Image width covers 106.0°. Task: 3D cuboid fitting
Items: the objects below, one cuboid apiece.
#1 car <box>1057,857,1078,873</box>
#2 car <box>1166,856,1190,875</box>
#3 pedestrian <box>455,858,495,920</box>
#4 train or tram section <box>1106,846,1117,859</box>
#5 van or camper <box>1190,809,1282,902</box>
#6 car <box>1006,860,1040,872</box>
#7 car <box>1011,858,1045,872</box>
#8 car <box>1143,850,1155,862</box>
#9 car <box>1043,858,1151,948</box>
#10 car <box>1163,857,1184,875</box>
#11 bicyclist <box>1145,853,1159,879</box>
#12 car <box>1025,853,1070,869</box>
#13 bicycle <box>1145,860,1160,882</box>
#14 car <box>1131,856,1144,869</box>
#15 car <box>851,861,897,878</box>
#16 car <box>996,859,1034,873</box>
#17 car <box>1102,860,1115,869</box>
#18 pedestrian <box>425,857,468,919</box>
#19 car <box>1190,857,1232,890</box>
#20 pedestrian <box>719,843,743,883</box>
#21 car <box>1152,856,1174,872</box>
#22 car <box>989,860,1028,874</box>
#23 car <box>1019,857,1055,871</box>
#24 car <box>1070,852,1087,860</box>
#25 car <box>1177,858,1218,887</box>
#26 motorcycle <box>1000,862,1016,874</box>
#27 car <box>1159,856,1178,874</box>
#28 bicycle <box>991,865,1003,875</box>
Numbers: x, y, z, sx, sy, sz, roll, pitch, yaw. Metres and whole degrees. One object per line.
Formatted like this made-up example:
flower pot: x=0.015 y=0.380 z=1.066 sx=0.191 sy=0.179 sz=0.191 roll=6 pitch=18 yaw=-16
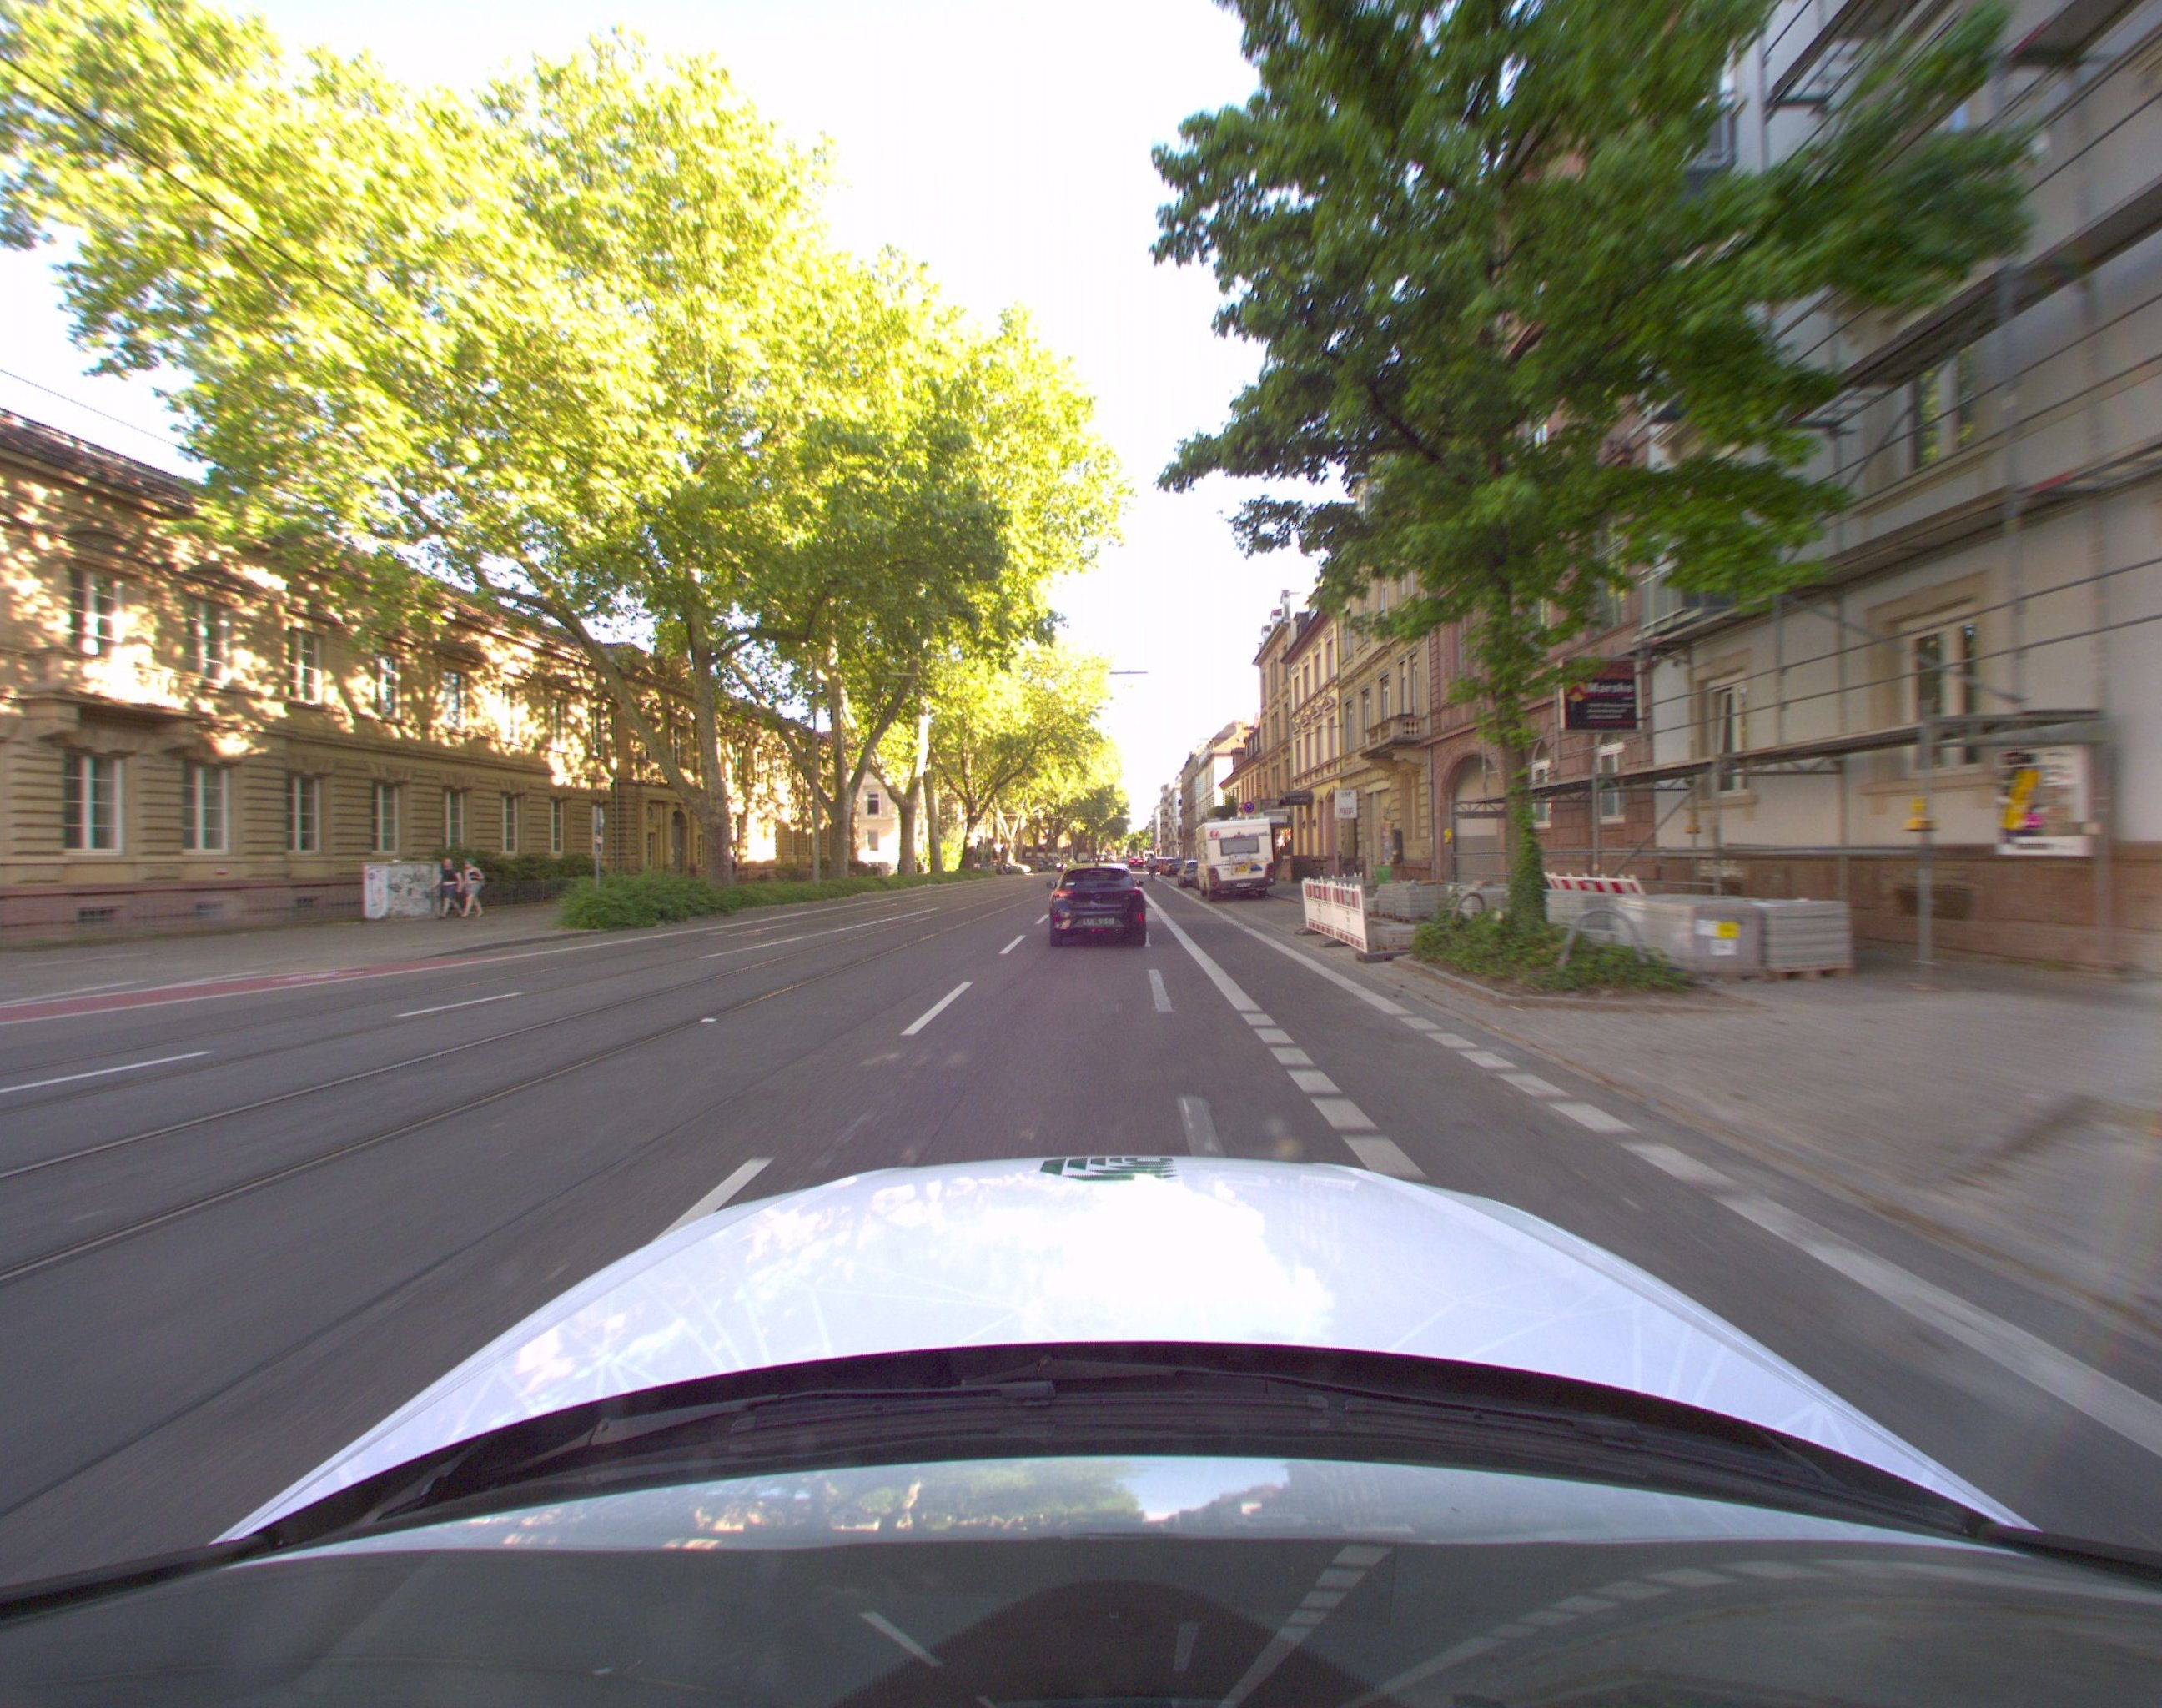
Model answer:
car: x=-1.426 y=1.163 z=87.557 sx=1.859 sy=1.629 sz=4.564 roll=-1 pitch=0 yaw=3
car: x=7.634 y=0.891 z=64.208 sx=1.686 sy=1.392 sz=4.500 roll=-2 pitch=-1 yaw=5
pedestrian: x=-16.911 y=0.963 z=22.730 sx=0.632 sy=1.697 sz=0.655 roll=0 pitch=-1 yaw=-4
train or tram section: x=9.367 y=-0.475 z=251.820 sx=2.722 sy=3.682 sz=12.731 roll=-2 pitch=0 yaw=5
van or camper: x=5.769 y=0.082 z=31.517 sx=2.466 sy=2.972 sz=7.894 roll=-4 pitch=-1 yaw=5
car: x=-6.987 y=1.445 z=97.947 sx=3.903 sy=1.442 sz=1.750 roll=1 pitch=-1 yaw=3
car: x=-6.521 y=1.393 z=100.128 sx=3.978 sy=1.627 sz=1.881 roll=1 pitch=-1 yaw=3
car: x=12.817 y=0.372 z=154.096 sx=2.066 sy=2.219 sz=4.939 roll=-4 pitch=-1 yaw=5
car: x=0.371 y=0.827 z=15.342 sx=1.786 sy=1.441 sz=3.534 roll=0 pitch=0 yaw=3
car: x=8.112 y=1.026 z=71.488 sx=1.644 sy=1.456 sz=3.872 roll=-2 pitch=-1 yaw=3
bicyclist: x=4.786 y=0.812 z=54.867 sx=0.844 sy=1.740 sz=1.162 roll=0 pitch=-1 yaw=2
car: x=-5.199 y=1.085 z=127.099 sx=6.599 sy=2.409 sz=2.460 roll=1 pitch=-1 yaw=3
bicycle: x=4.792 y=1.128 z=54.813 sx=0.857 sy=1.407 sz=2.525 roll=0 pitch=0 yaw=2
car: x=8.135 y=1.178 z=116.270 sx=1.801 sy=1.742 sz=3.938 roll=-1 pitch=0 yaw=5
car: x=-19.370 y=1.439 z=76.387 sx=3.760 sy=1.418 sz=1.696 roll=-2 pitch=2 yaw=3
car: x=-7.273 y=1.334 z=89.392 sx=3.903 sy=1.462 sz=1.807 roll=-1 pitch=-1 yaw=3
car: x=4.082 y=1.515 z=119.261 sx=1.802 sy=1.338 sz=3.935 roll=-1 pitch=0 yaw=2
pedestrian: x=-17.581 y=0.924 z=22.587 sx=0.670 sy=1.697 sz=0.661 roll=0 pitch=-1 yaw=-4
car: x=6.368 y=0.908 z=40.143 sx=1.637 sy=1.434 sz=4.034 roll=-4 pitch=-1 yaw=5
pedestrian: x=-16.424 y=0.419 z=38.212 sx=0.716 sy=1.849 sz=0.838 roll=0 pitch=-1 yaw=1
car: x=8.820 y=1.083 z=87.437 sx=1.874 sy=1.586 sz=3.932 roll=-4 pitch=-1 yaw=0
car: x=-7.671 y=1.391 z=86.508 sx=3.905 sy=1.453 sz=1.801 roll=-1 pitch=-1 yaw=3
car: x=-5.994 y=1.347 z=111.978 sx=4.654 sy=1.924 sz=1.982 roll=1 pitch=-1 yaw=4
car: x=-0.536 y=0.514 z=188.464 sx=3.906 sy=1.790 sz=1.677 roll=1 pitch=-1 yaw=0
car: x=6.354 y=0.978 z=44.946 sx=1.802 sy=1.435 sz=4.668 roll=-2 pitch=-1 yaw=3
motorcycle: x=-6.957 y=1.341 z=78.122 sx=0.878 sy=1.147 sz=2.398 roll=0 pitch=0 yaw=11
car: x=8.152 y=1.017 z=76.118 sx=1.627 sy=1.546 sz=3.580 roll=-2 pitch=-1 yaw=5
bicycle: x=-8.047 y=1.518 z=78.189 sx=0.537 sy=0.940 sz=2.040 roll=0 pitch=0 yaw=11
